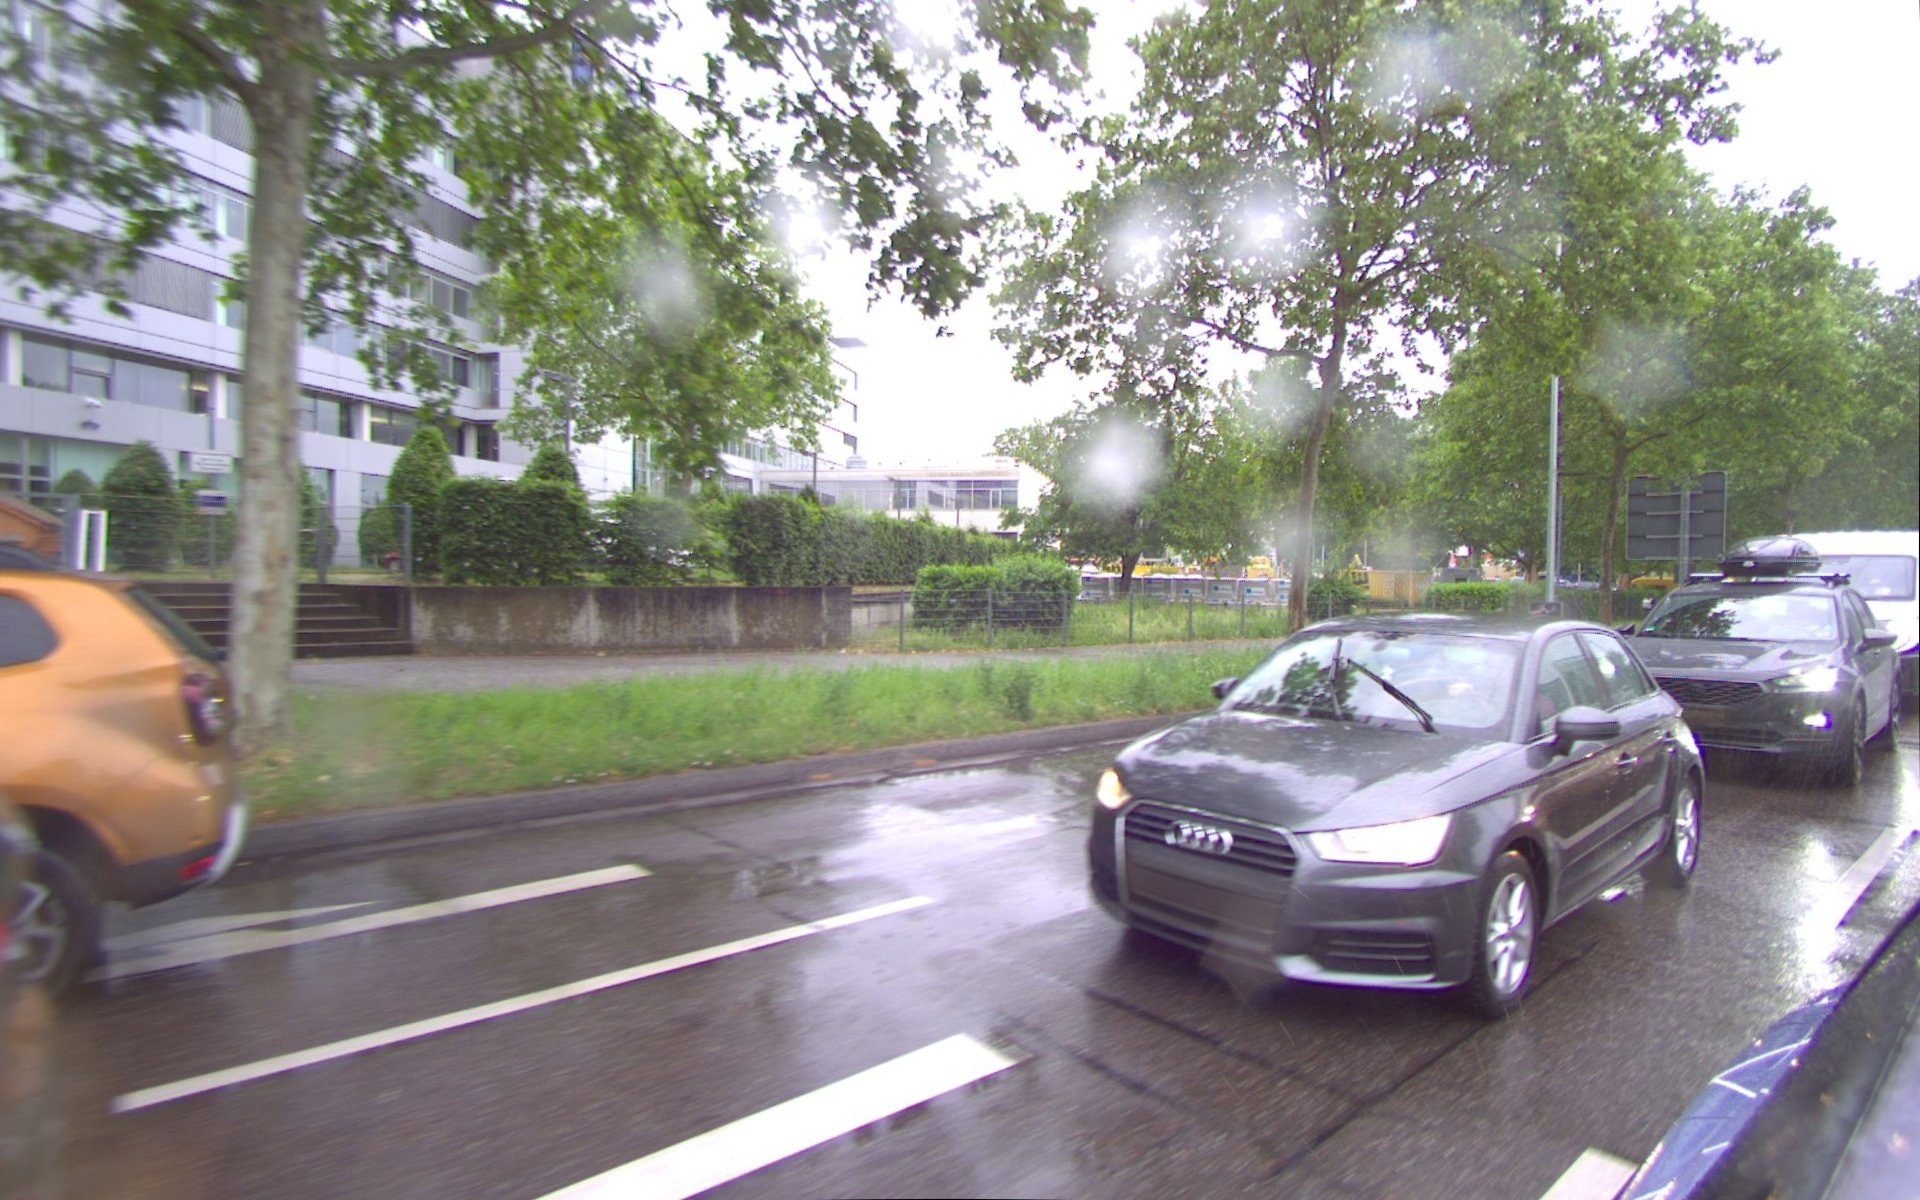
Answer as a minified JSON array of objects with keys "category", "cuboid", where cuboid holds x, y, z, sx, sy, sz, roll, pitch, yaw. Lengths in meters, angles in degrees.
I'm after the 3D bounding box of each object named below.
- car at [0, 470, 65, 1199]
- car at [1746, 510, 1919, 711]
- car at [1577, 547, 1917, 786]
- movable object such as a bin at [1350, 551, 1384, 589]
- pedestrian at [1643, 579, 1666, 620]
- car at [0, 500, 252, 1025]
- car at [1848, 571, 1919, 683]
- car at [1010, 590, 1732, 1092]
[{"category":"car","cuboid":[-3.265,0.626,0.639,4.020,1.574,1.750,0,1,-42]},{"category":"car","cuboid":[13.259,0.103,14.805,5.227,2.476,1.892,0,1,-42]},{"category":"car","cuboid":[7.493,0.444,9.460,4.350,1.719,1.891,0,1,-44]},{"category":"movable object such as a bin","cuboid":[38.209,-2.749,95.151,1.887,3.478,4.924,-1,0,10]},{"category":"pedestrian","cuboid":[30.059,-0.029,43.811,0.645,1.738,0.645,-1,0,-40]},{"category":"car","cuboid":[-4.701,0.530,3.044,4.074,1.707,1.677,0,-1,-41]},{"category":"car","cuboid":[18.287,0.460,19.110,4.469,1.937,1.805,0,1,-42]},{"category":"car","cuboid":[2.155,0.683,4.798,3.715,1.446,1.679,0,1,-41]}]
